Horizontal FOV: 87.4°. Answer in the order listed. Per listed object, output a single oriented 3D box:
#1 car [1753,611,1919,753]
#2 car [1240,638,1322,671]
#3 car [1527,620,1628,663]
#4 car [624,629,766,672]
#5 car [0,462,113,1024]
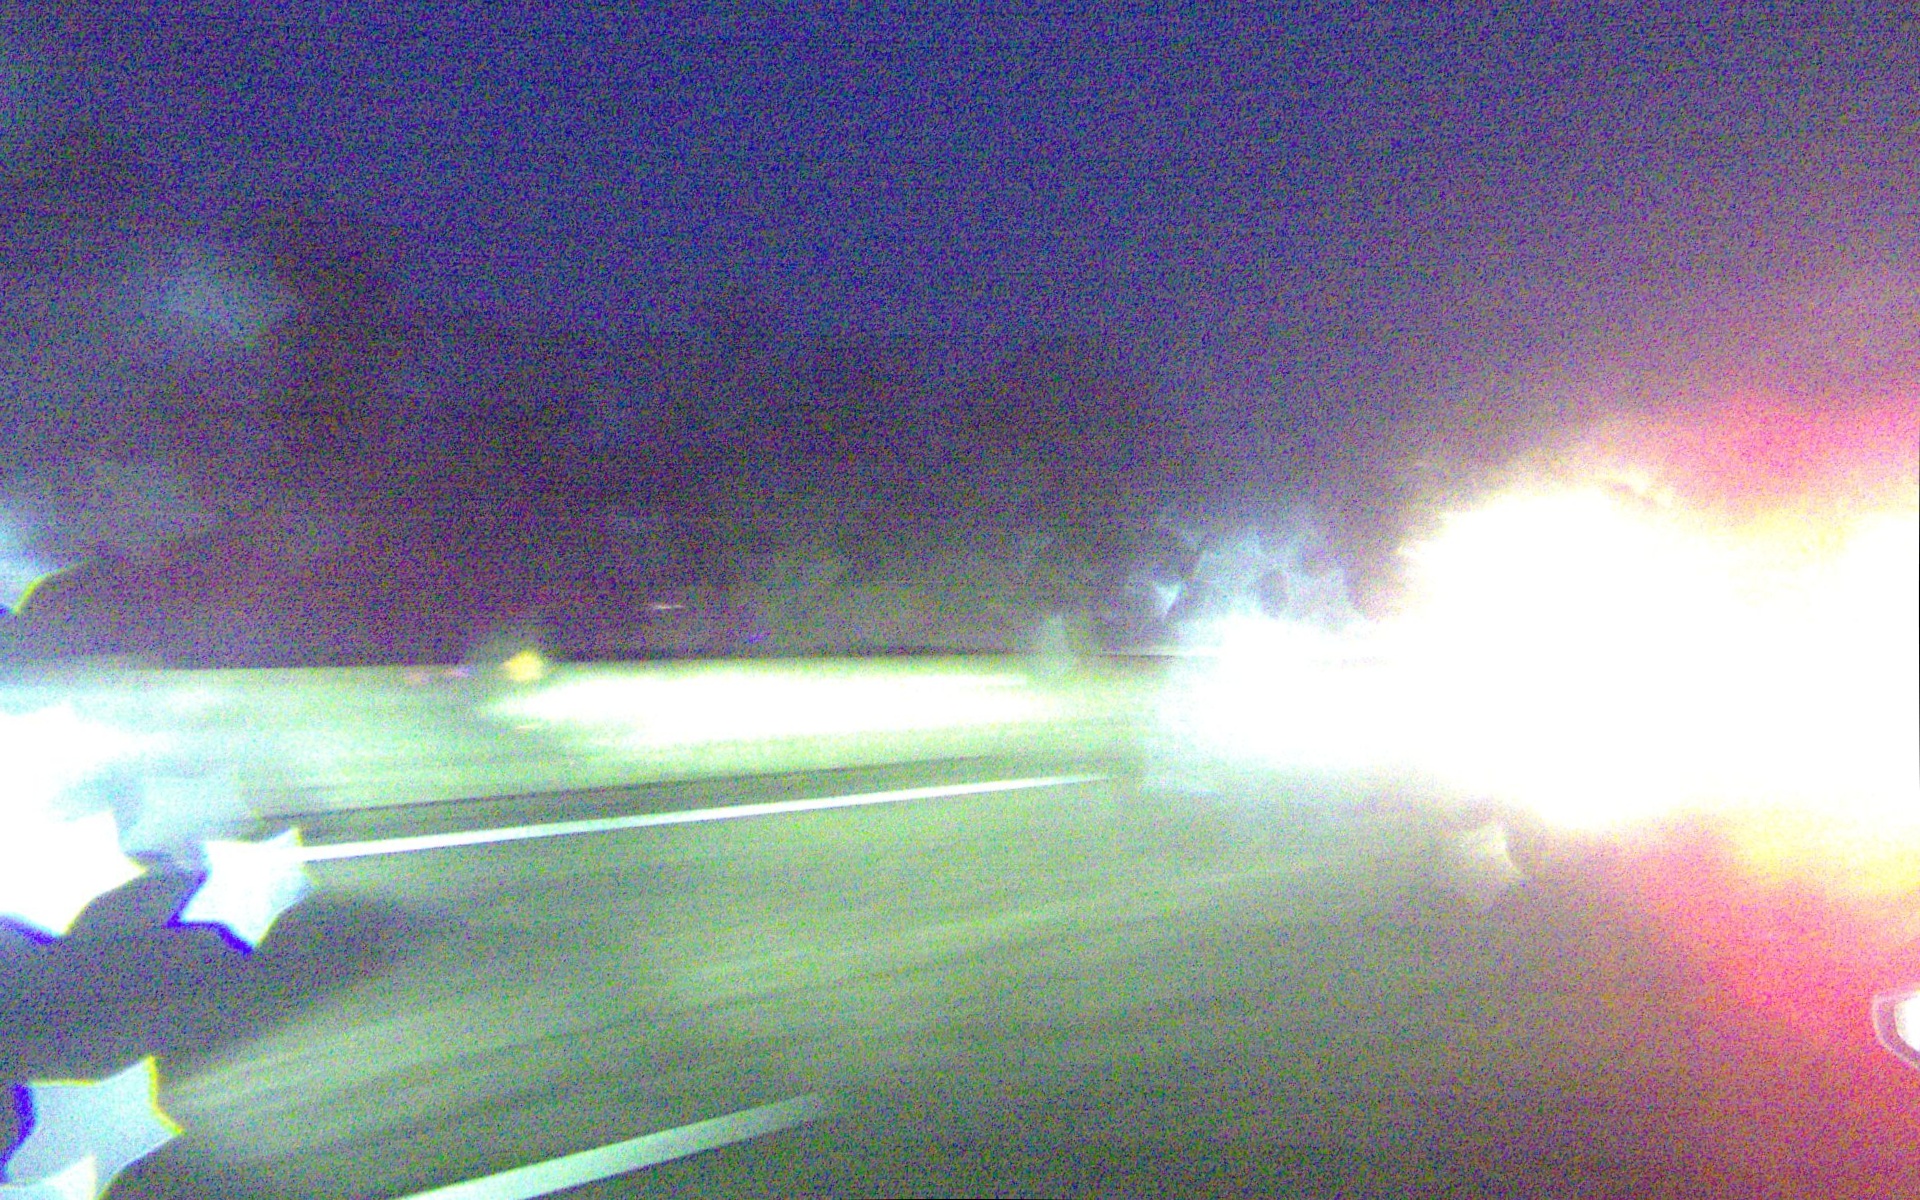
[{"bbox_3d":[12.483,0.947,13.119,4.696,1.561,1.848,0,0,-32],"label":"car"},{"bbox_3d":[13.377,2.254,41.862,3.197,1.324,1.524,2,-3,-32],"label":"car"},{"bbox_3d":[25.451,1.737,41.373,3.909,1.668,1.984,2,-3,-32],"label":"car"},{"bbox_3d":[-7.720,1.485,29.338,3.731,1.173,1.587,2,-4,-32],"label":"car"},{"bbox_3d":[-5.804,0.434,2.352,5.491,1.909,2.126,2,-1,-31],"label":"car"}]
